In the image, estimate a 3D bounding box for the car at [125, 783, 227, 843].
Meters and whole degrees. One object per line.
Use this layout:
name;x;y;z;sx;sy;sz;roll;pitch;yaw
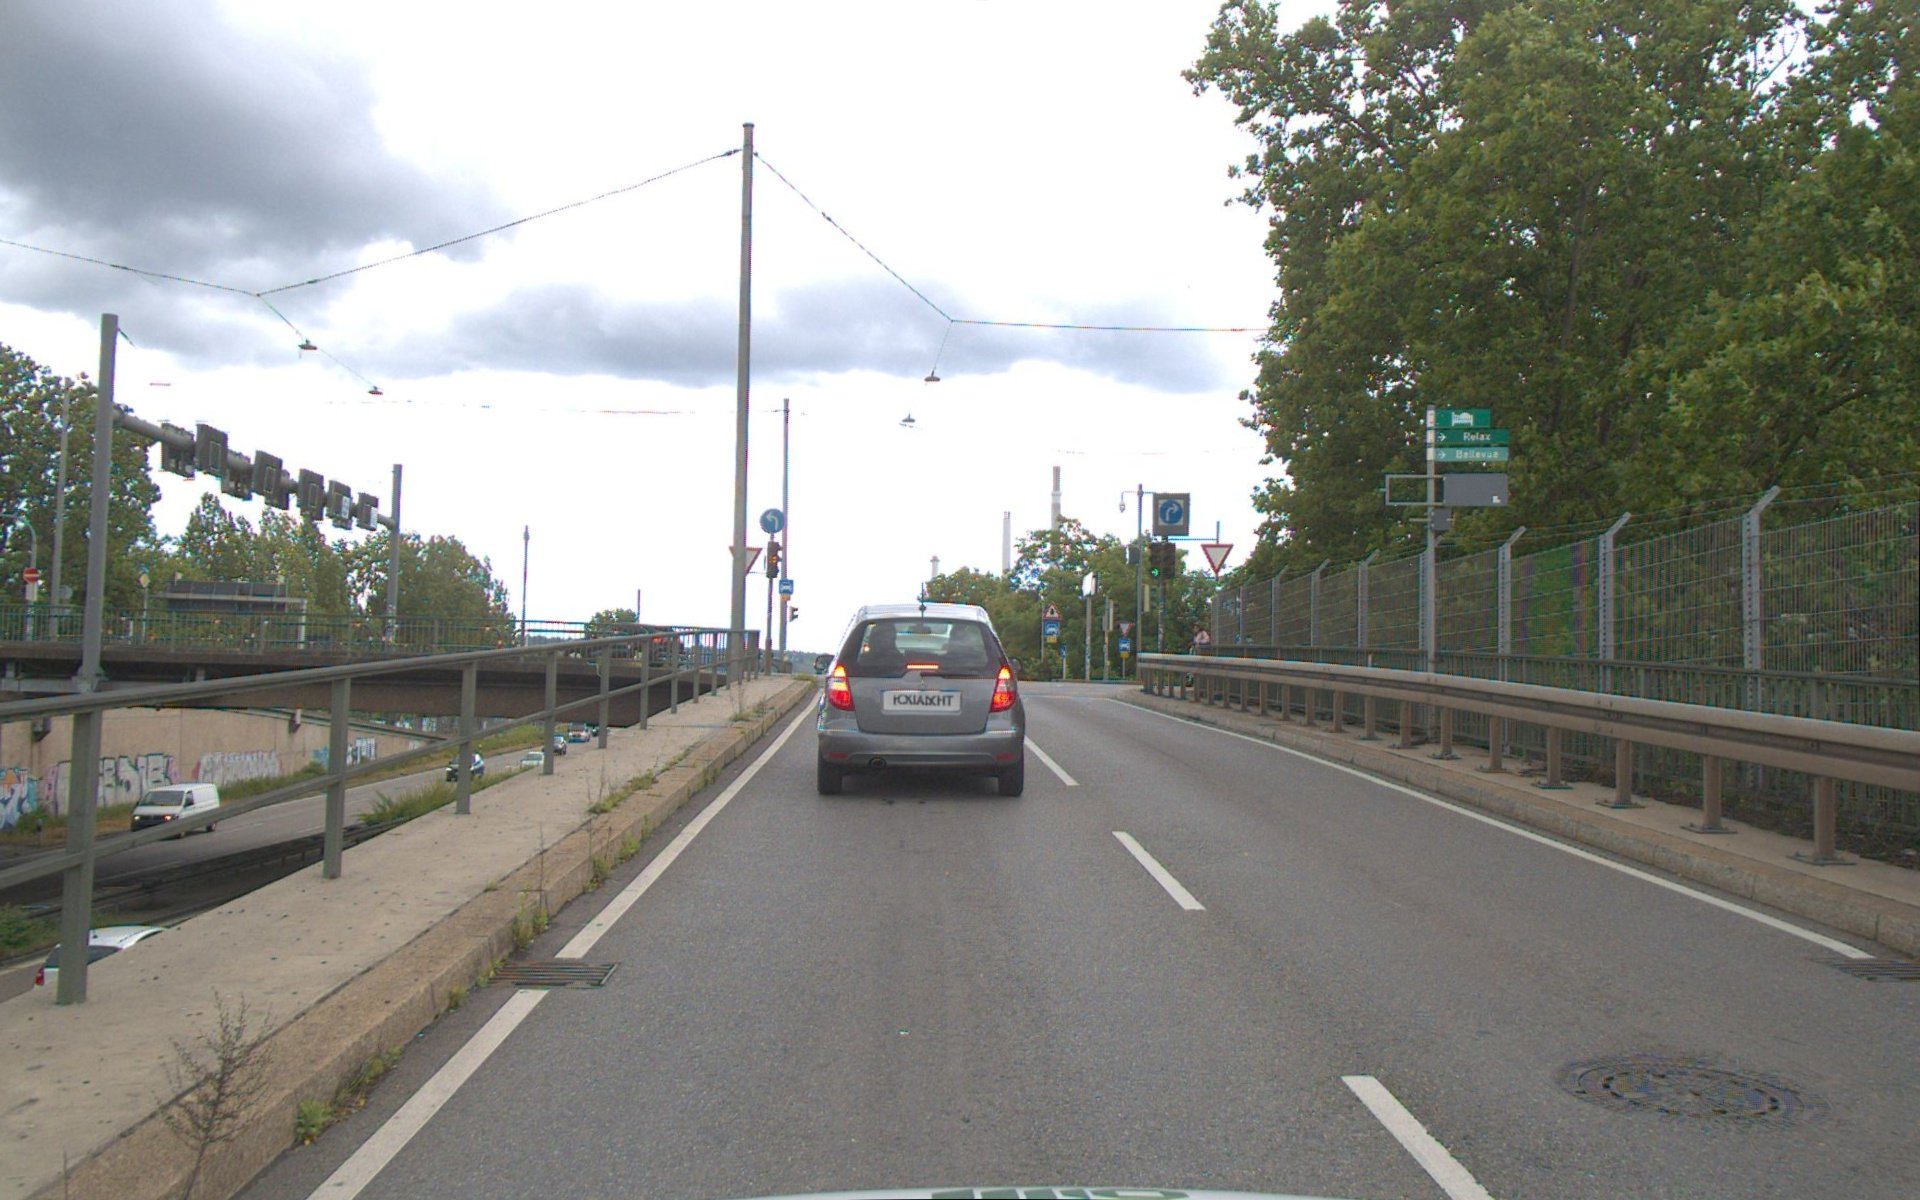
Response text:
car;-31.895;8.646;67.468;1.954;2.103;5.171;1;-4;-4

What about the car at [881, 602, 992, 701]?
car;-0.513;0.950;31.635;1.893;1.747;4.402;1;-1;-4

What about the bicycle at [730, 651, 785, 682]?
bicycle;-7.808;2.562;63.802;1.998;1.144;0.926;1;-1;-14

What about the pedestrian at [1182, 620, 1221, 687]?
pedestrian;6.369;1.424;43.668;0.816;1.707;0.978;1;-4;-6

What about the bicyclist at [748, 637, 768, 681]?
bicyclist;-7.794;2.272;63.822;0.642;1.703;0.866;1;-1;-13

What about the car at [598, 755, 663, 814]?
car;-16.283;9.092;82.041;1.953;2.732;5.930;1;-5;0

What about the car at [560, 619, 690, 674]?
car;-10.926;1.513;54.199;3.908;1.747;1.936;1;-1;-4

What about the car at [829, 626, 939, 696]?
car;-2.068;1.584;43.923;1.902;1.747;3.979;1;-1;-18

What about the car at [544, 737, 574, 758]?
car;-38.069;14.006;157.154;1.892;1.874;4.406;0;-4;-3

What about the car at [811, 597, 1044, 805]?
car;-0.269;0.813;15.056;1.820;1.616;3.999;1;-1;-1

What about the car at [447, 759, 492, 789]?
car;-33.066;11.705;111.600;1.877;1.769;4.548;0;-4;-4

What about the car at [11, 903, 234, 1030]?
car;-14.144;6.175;28.218;1.707;1.477;4.163;0;-4;-1
